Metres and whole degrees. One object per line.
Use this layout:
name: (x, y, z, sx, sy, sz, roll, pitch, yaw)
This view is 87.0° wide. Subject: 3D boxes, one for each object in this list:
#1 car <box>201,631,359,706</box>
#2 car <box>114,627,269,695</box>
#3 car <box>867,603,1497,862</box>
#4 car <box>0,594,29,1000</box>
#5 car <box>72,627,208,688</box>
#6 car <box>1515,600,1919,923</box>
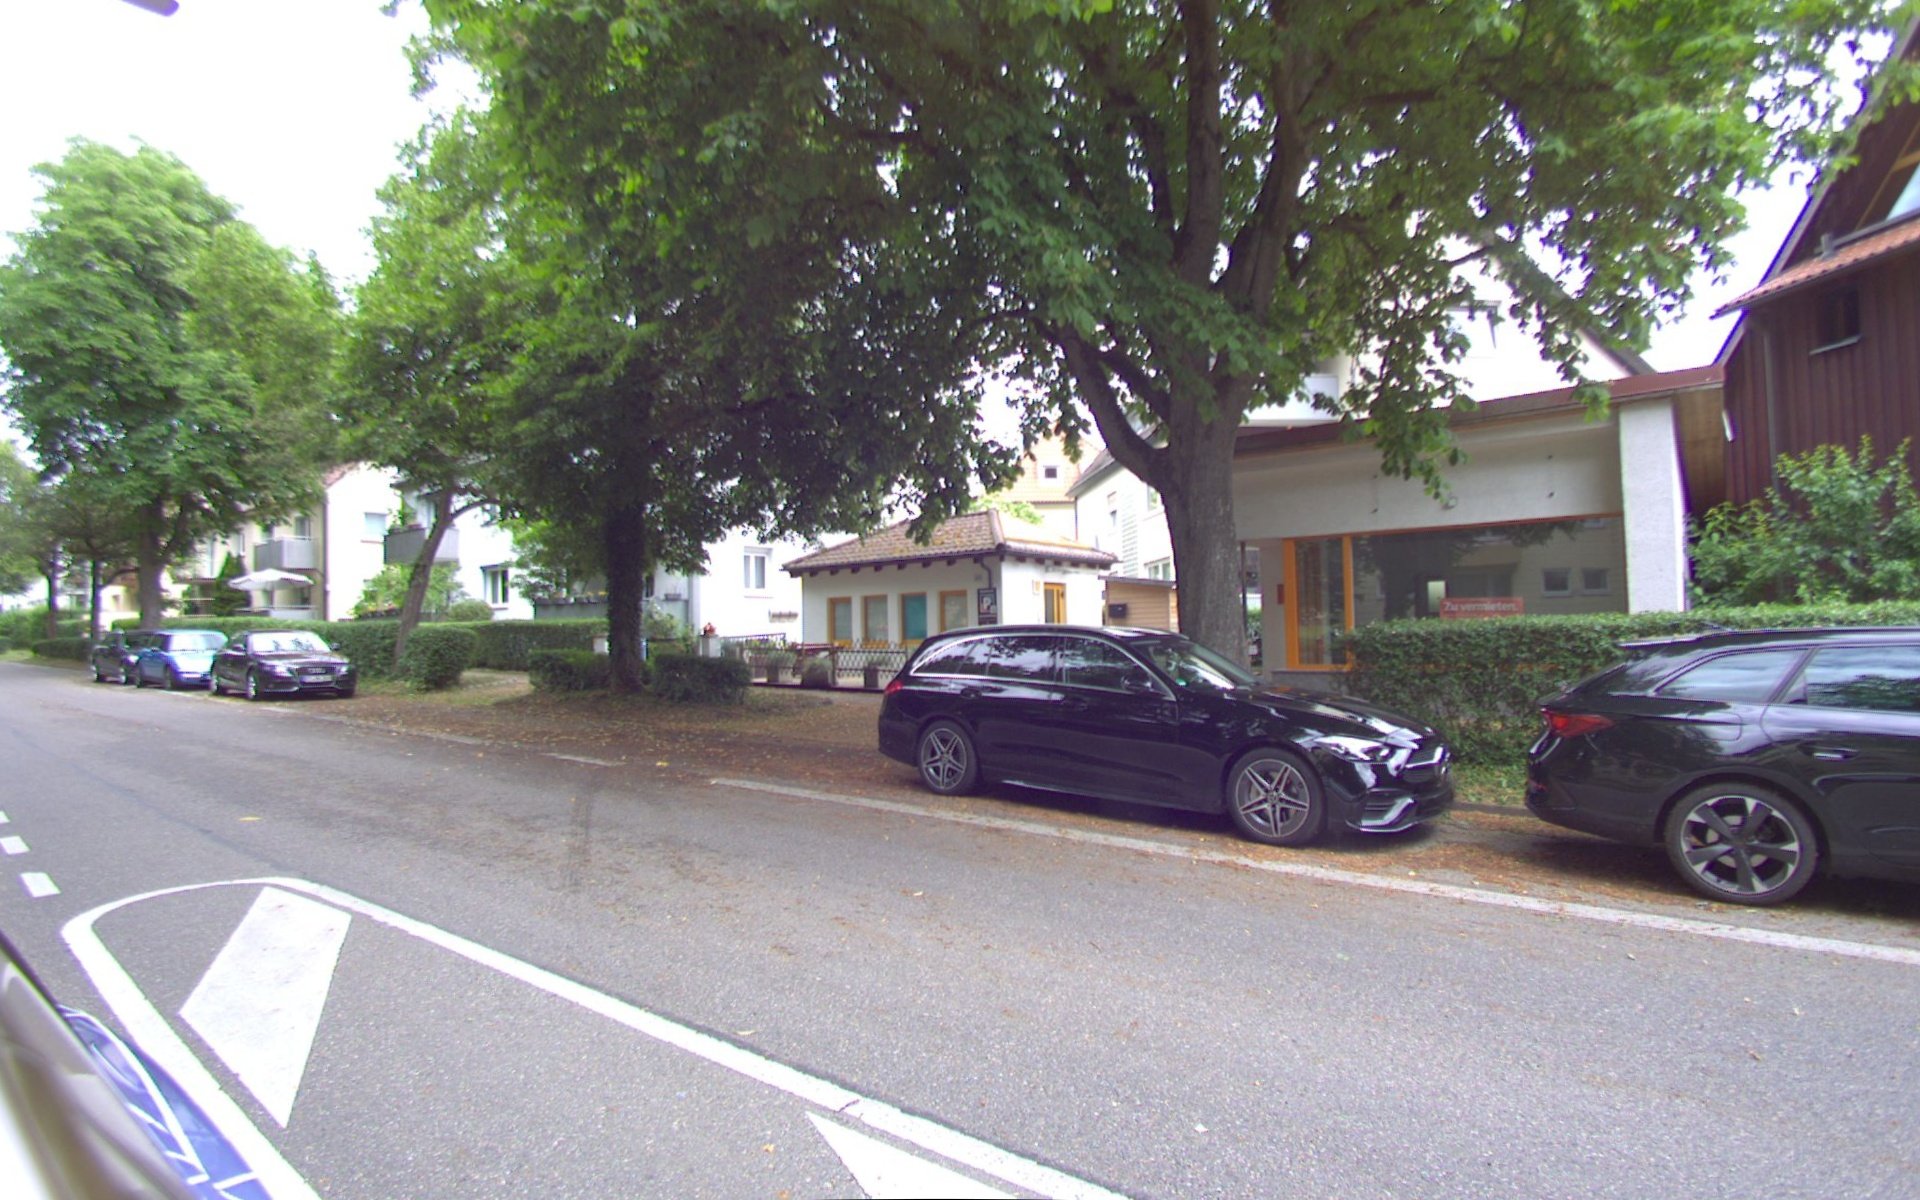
car: (-14.225, 1.373, 21.093, 4.169, 1.414, 1.713, -2, -3, 41)
car: (-18.919, 1.458, 24.860, 4.558, 1.512, 1.866, -2, -3, 37)
car: (1.552, 0.863, 8.200, 4.612, 1.511, 1.973, -2, -3, 41)
car: (-5.925, 0.773, 4.596, 4.612, 1.511, 1.973, -2, -3, 41)
car: (-22.608, 1.556, 27.852, 4.558, 1.545, 1.866, -2, -3, 37)
car: (5.447, 0.755, 4.988, 4.536, 1.497, 1.674, -2, -3, 38)
